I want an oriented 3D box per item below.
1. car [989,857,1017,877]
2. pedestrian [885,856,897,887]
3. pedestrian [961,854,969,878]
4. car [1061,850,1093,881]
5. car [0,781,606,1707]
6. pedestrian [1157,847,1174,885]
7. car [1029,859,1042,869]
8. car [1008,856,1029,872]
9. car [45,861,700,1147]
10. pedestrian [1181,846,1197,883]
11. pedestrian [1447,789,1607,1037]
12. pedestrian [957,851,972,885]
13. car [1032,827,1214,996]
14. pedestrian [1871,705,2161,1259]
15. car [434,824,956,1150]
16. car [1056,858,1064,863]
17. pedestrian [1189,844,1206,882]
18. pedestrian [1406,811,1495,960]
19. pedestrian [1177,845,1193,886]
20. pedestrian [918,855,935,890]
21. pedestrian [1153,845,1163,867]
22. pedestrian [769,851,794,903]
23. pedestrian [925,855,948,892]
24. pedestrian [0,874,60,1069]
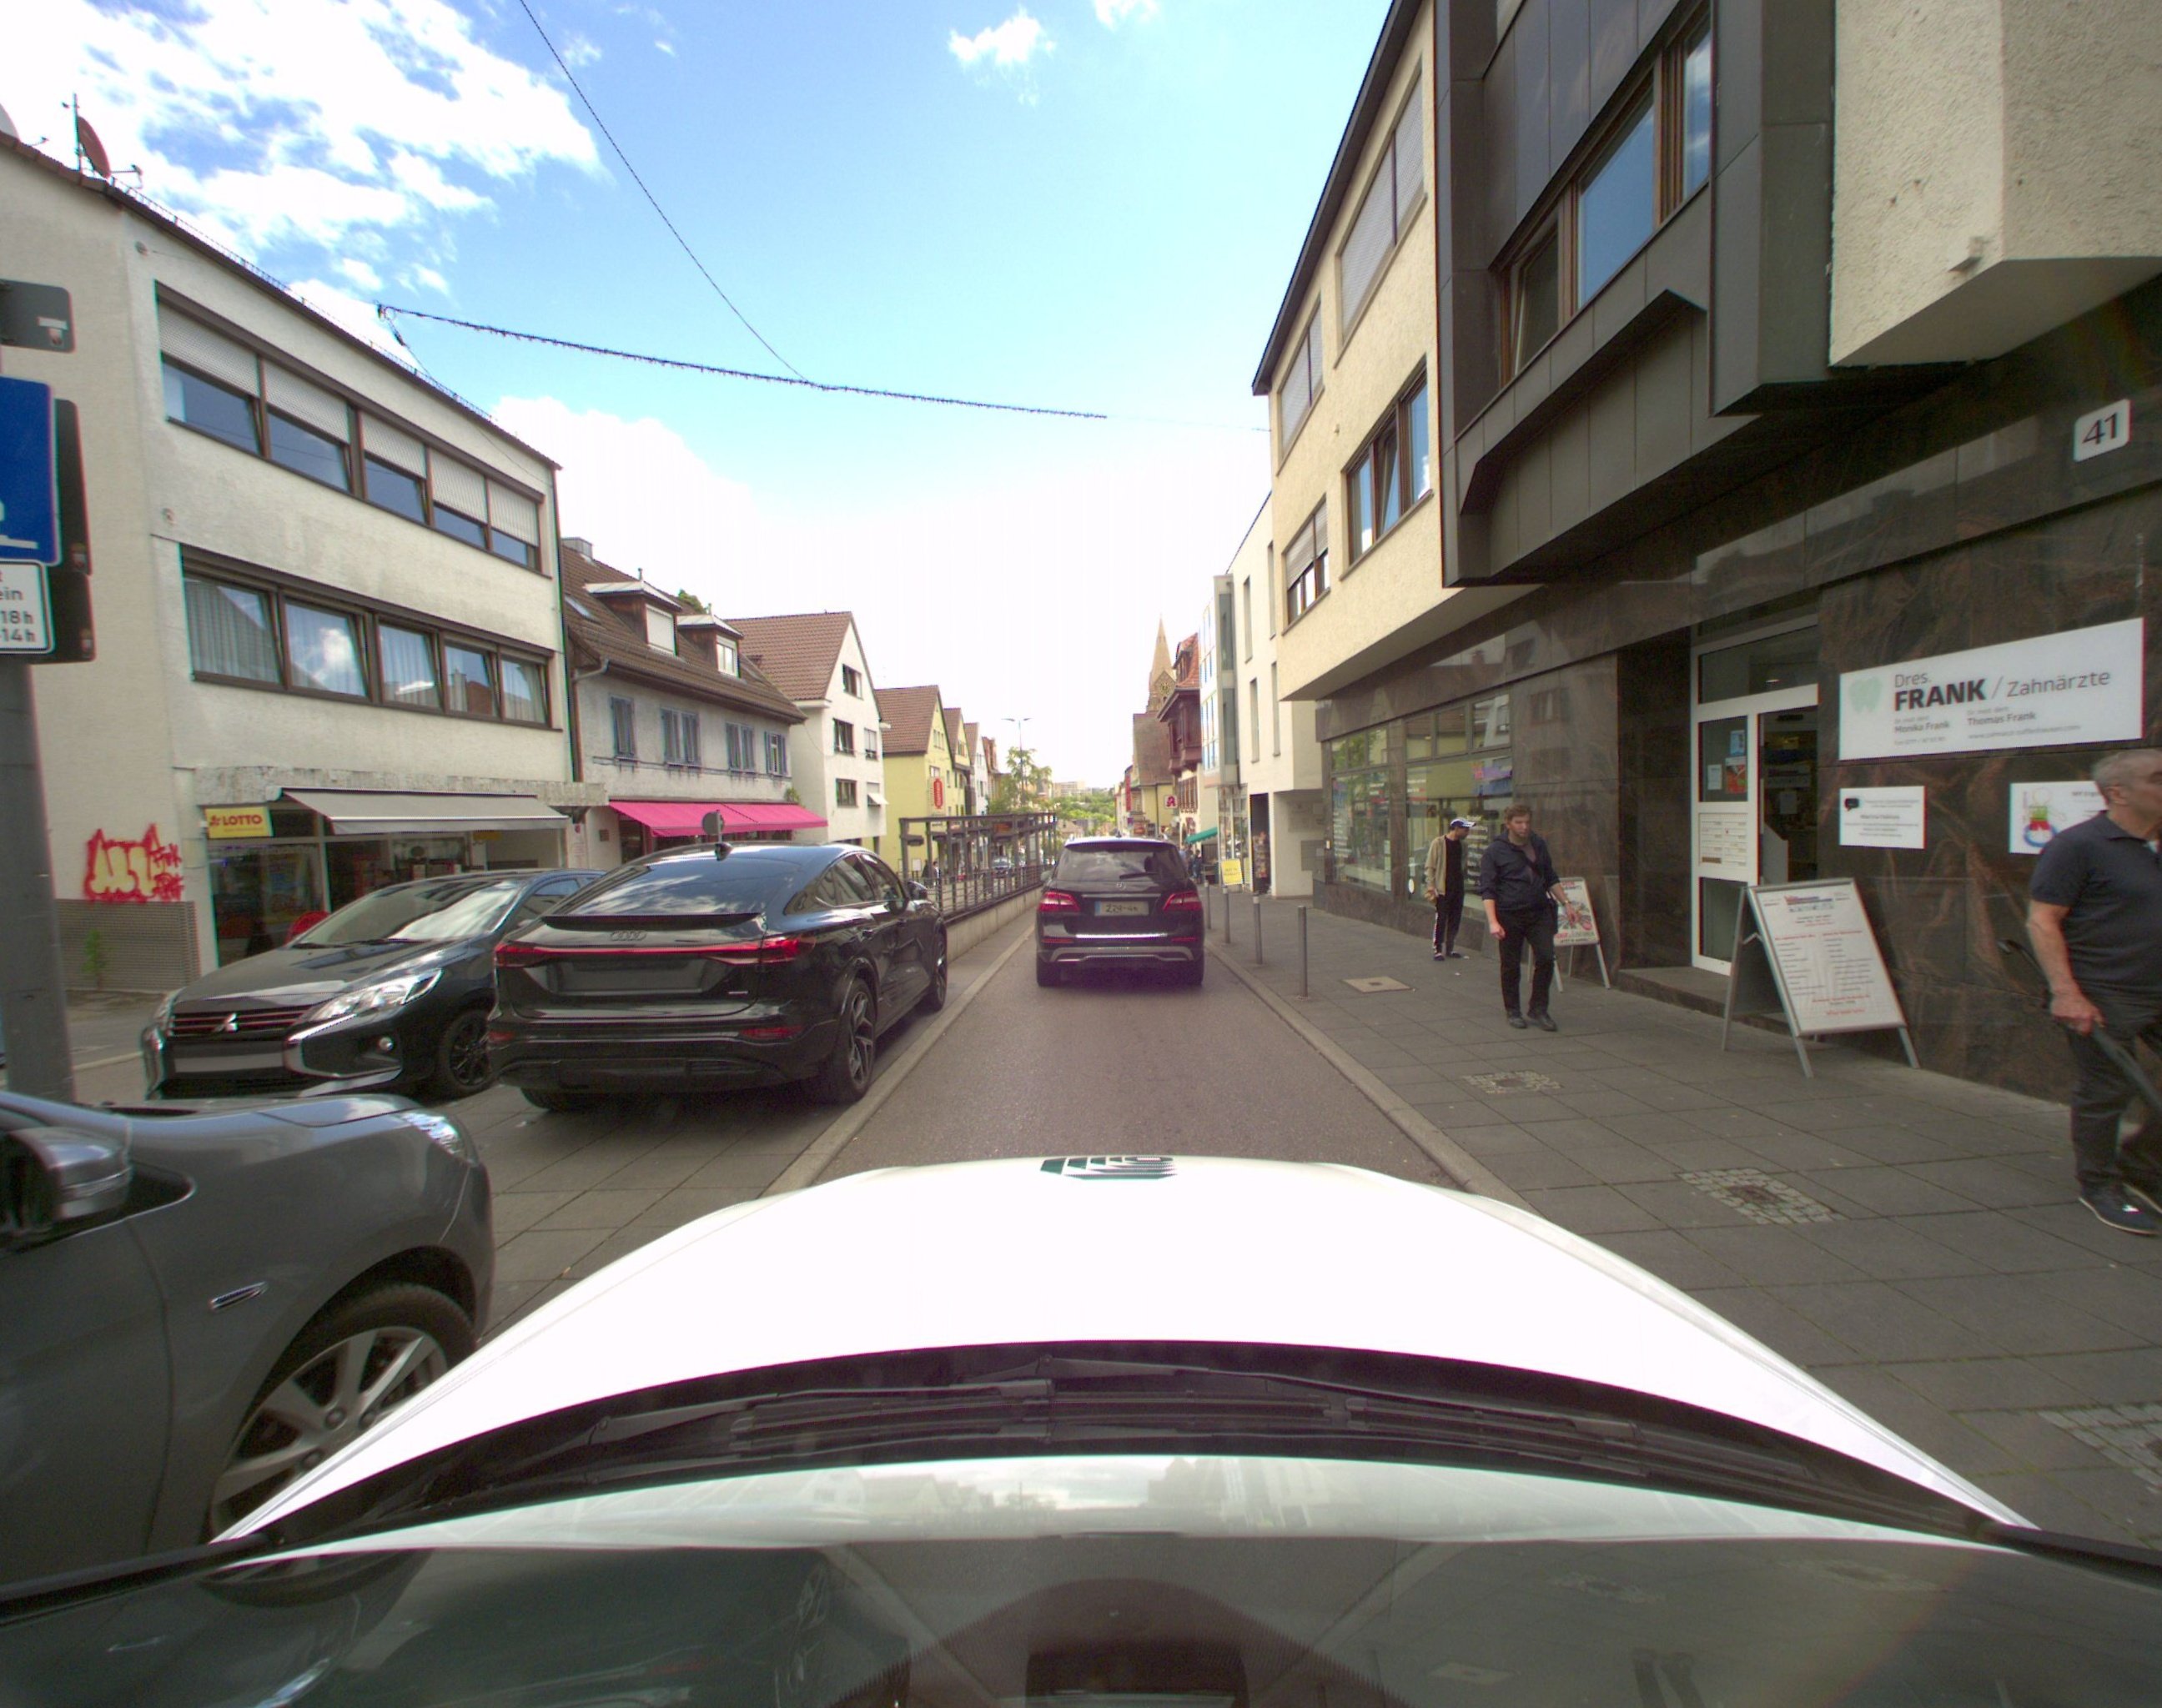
[{"bbox_3d":[-5.927,0.960,62.374,1.683,1.490,3.980,0,0,2],"label":"car"},{"bbox_3d":[-8.952,0.811,38.411,0.455,1.421,0.533,0,0,1],"label":"pedestrian"},{"bbox_3d":[-8.180,0.840,57.518,0.511,1.689,0.541,0,0,0],"label":"pedestrian"},{"bbox_3d":[-0.199,0.635,47.499,1.764,1.713,4.000,0,0,1],"label":"car"},{"bbox_3d":[-2.325,0.670,0.698,1.614,1.532,3.671,0,0,1],"label":"car"},{"bbox_3d":[3.716,0.520,35.742,0.620,1.689,0.565,0,0,-5],"label":"pedestrian"},{"bbox_3d":[-5.702,1.238,102.192,1.383,1.070,3.114,-3,0,1],"label":"car"},{"bbox_3d":[-6.092,0.949,79.451,1.654,1.490,3.749,0,0,2],"label":"car"},{"bbox_3d":[-4.823,0.841,6.448,1.733,1.475,3.883,-2,0,0],"label":"car"},{"bbox_3d":[4.999,0.488,37.782,0.572,1.689,0.565,-2,0,-5],"label":"pedestrian"},{"bbox_3d":[3.404,0.427,6.290,0.708,1.753,0.787,-4,0,1],"label":"pedestrian"},{"bbox_3d":[-5.756,0.692,40.167,0.623,1.689,0.679,0,0,0],"label":"pedestrian"},{"bbox_3d":[0.428,0.602,10.501,1.895,1.747,3.999,0,0,-1],"label":"car"},{"bbox_3d":[3.704,0.376,2.973,0.708,1.753,0.785,-6,0,1],"label":"pedestrian"},{"bbox_3d":[-2.297,0.677,6.306,1.950,1.639,4.314,0,0,0],"label":"car"},{"bbox_3d":[-4.505,1.451,175.818,1.383,1.070,3.114,-3,0,1],"label":"car"},{"bbox_3d":[5.254,0.407,36.799,0.572,1.689,0.565,-2,0,-5],"label":"pedestrian"},{"bbox_3d":[4.452,0.365,9.837,0.662,1.689,0.542,-5,0,-5],"label":"pedestrian"},{"bbox_3d":[4.532,0.494,35.526,0.541,1.726,0.527,-2,0,-5],"label":"pedestrian"},{"bbox_3d":[-7.547,0.891,39.759,0.616,1.689,0.557,0,0,-32],"label":"pedestrian"},{"bbox_3d":[6.147,0.137,64.947,0.604,1.688,0.724,-3,0,1],"label":"pedestrian"},{"bbox_3d":[-9.716,0.736,26.397,0.576,1.689,0.577,0,0,0],"label":"pedestrian"},{"bbox_3d":[-6.754,0.911,38.056,0.719,1.689,0.772,0,0,22],"label":"pedestrian"},{"bbox_3d":[-9.730,1.039,7.280,0.638,1.689,0.670,-2,1,41],"label":"pedestrian"}]
